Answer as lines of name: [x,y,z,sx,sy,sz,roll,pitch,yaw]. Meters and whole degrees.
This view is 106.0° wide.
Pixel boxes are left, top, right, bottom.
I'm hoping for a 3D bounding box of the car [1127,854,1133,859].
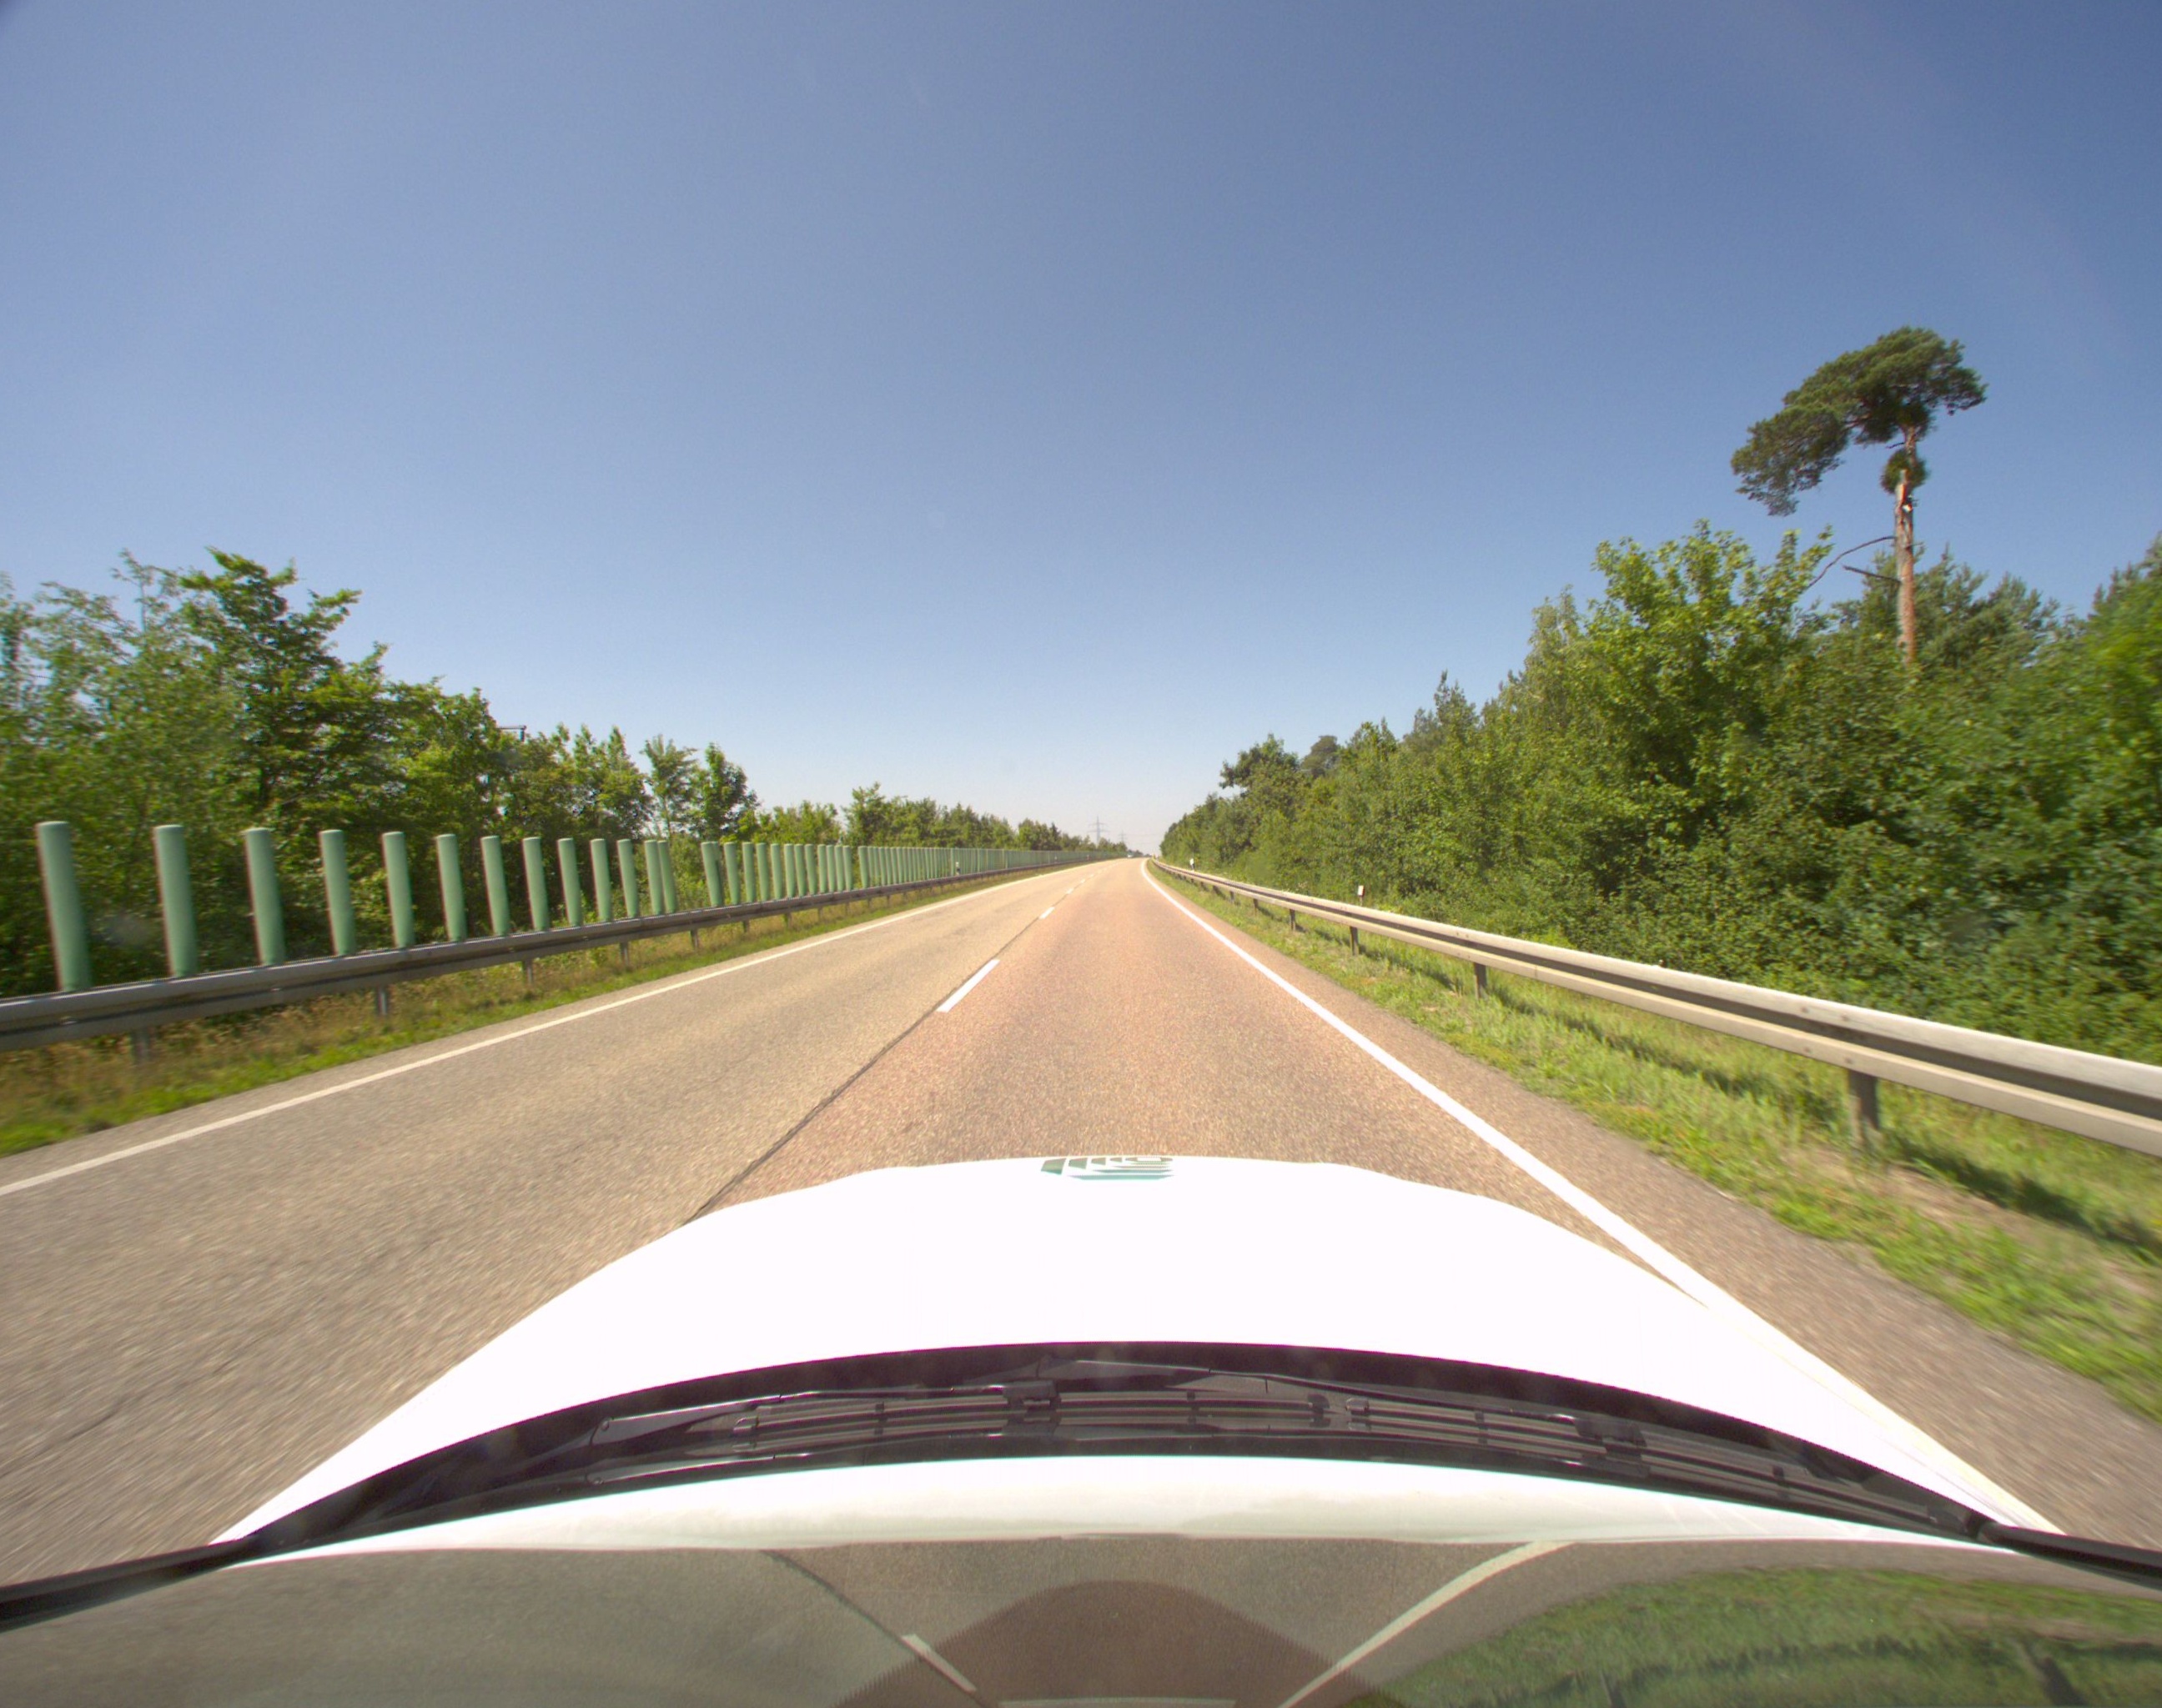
car: [14.916,0.774,246.956,1.712,1.501,4.253,-1,0,4]
